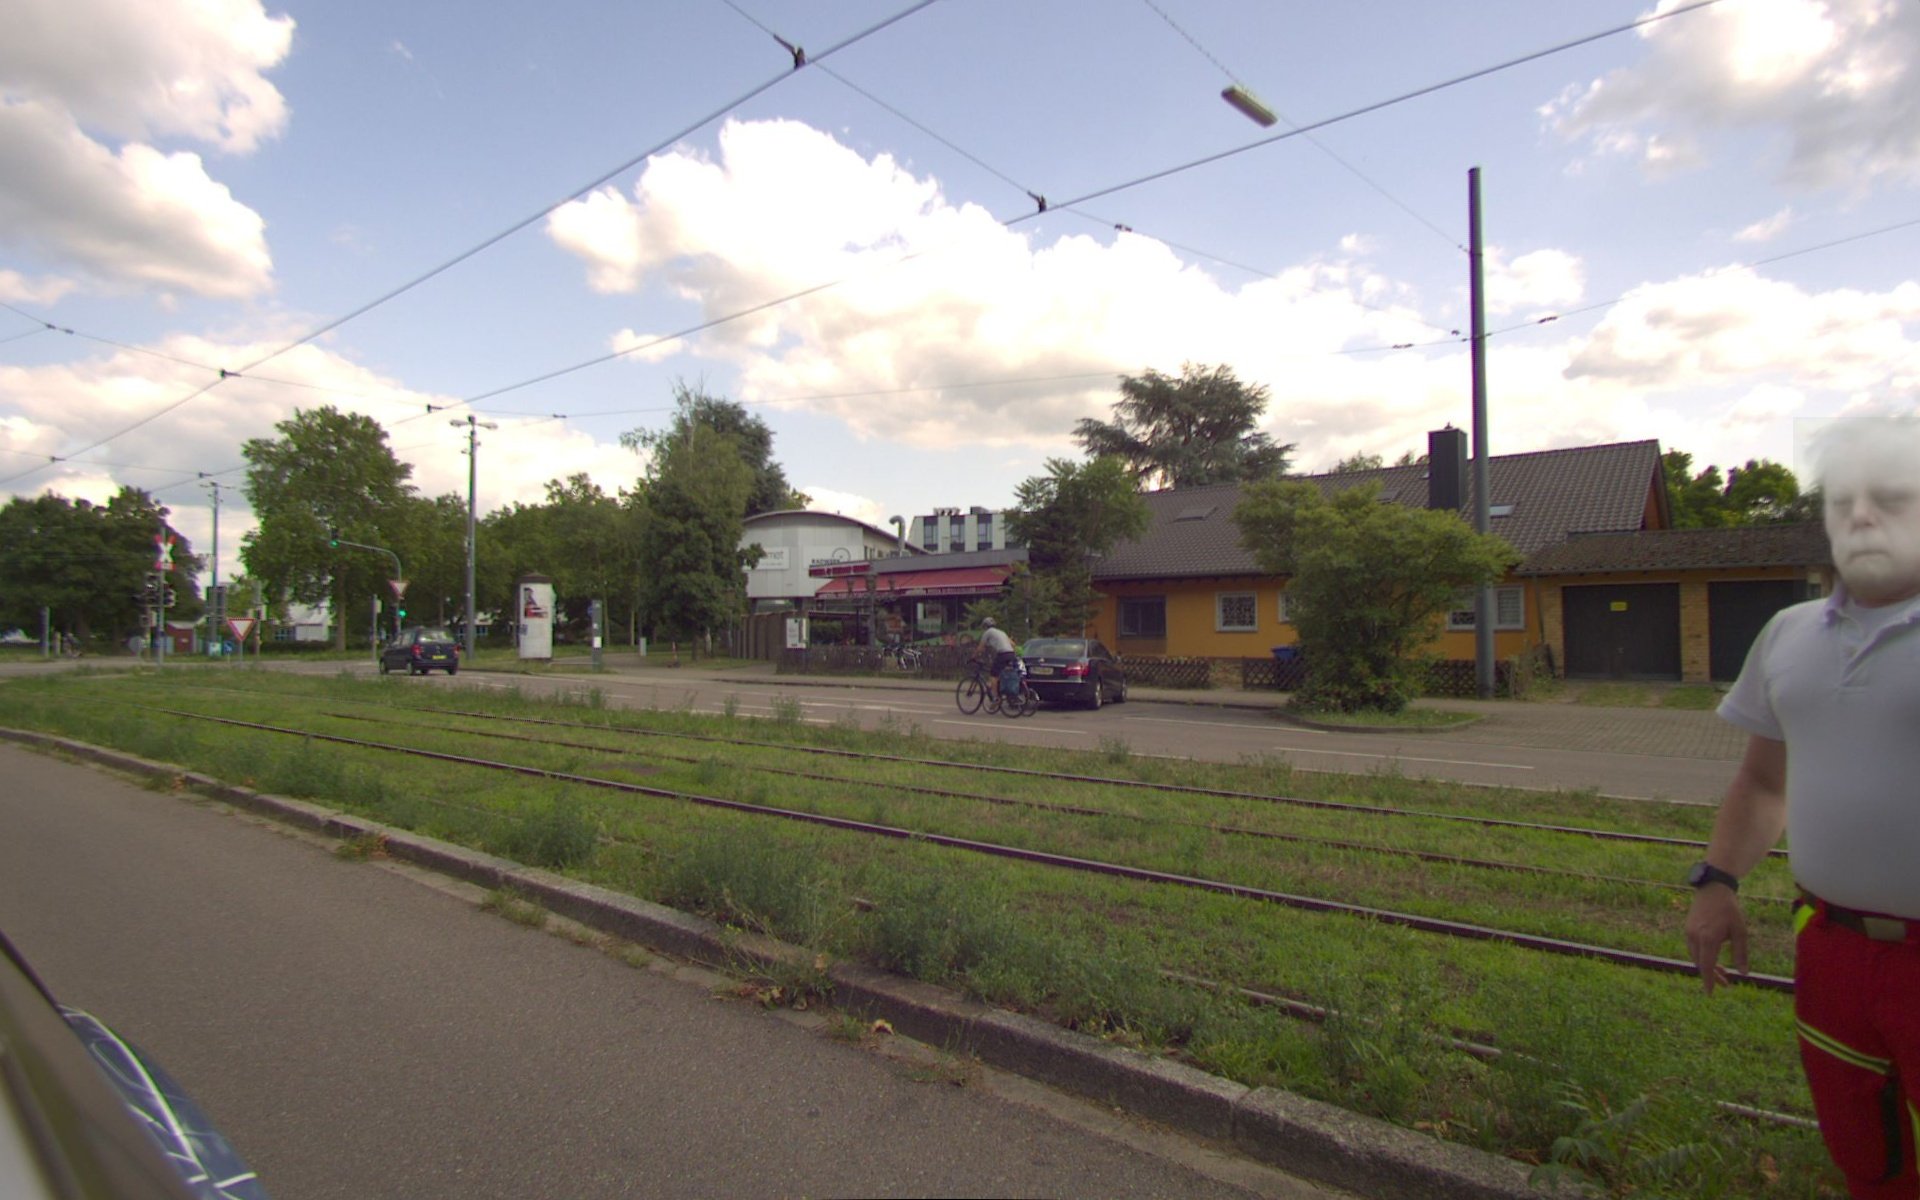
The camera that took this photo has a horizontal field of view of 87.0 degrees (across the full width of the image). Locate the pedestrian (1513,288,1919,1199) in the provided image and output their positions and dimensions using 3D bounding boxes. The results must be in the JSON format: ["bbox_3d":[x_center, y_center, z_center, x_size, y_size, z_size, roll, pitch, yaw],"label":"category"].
[{"bbox_3d":[1.458,0.492,1.421,0.836,1.699,0.808,0,-1,-21],"label":"pedestrian"}]

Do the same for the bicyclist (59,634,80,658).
[{"bbox_3d":[-58.300,3.018,66.233,0.828,1.481,0.797,-3,-3,28],"label":"bicyclist"}]

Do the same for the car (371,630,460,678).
[{"bbox_3d":[-19.462,1.886,36.141,3.495,1.639,1.759,-2,-2,43],"label":"car"}]

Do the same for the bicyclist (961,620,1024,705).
[{"bbox_3d":[0.576,1.094,18.059,0.928,1.469,0.616,-2,-3,41],"label":"bicyclist"}]

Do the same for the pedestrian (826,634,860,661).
[{"bbox_3d":[-5.035,2.048,43.616,0.931,1.155,1.141,-2,-3,41],"label":"pedestrian"}]

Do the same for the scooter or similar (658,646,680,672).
[{"bbox_3d":[-12.204,2.468,42.425,0.421,1.041,1.225,1,-3,-40],"label":"scooter or similar"}]

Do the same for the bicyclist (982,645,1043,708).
[{"bbox_3d":[0.964,1.393,18.649,0.928,1.121,0.632,-2,-3,43],"label":"bicyclist"}]

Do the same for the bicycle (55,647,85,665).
[{"bbox_3d":[-58.153,3.647,66.141,2.059,1.068,0.797,-3,-3,28],"label":"bicycle"}]

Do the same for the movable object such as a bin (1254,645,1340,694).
[{"bbox_3d":[8.119,1.647,24.379,1.616,1.109,1.242,-2,-3,39],"label":"movable object such as a bin"}]

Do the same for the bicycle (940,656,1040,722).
[{"bbox_3d":[0.522,1.569,18.123,1.804,1.088,0.639,-2,-3,42],"label":"bicycle"}]

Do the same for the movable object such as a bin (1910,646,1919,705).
[{"bbox_3d":[17.635,1.361,18.383,0.479,1.050,0.488,-3,-2,40],"label":"movable object such as a bin"}]

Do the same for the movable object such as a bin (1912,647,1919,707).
[{"bbox_3d":[17.280,1.365,17.957,0.481,1.050,0.499,-3,-2,40],"label":"movable object such as a bin"}]

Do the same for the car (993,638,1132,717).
[{"bbox_3d":[2.290,1.530,21.269,1.869,1.418,4.620,0,-2,20],"label":"car"}]

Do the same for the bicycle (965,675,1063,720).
[{"bbox_3d":[0.978,1.769,18.623,1.805,0.723,0.638,-2,-3,43],"label":"bicycle"}]
